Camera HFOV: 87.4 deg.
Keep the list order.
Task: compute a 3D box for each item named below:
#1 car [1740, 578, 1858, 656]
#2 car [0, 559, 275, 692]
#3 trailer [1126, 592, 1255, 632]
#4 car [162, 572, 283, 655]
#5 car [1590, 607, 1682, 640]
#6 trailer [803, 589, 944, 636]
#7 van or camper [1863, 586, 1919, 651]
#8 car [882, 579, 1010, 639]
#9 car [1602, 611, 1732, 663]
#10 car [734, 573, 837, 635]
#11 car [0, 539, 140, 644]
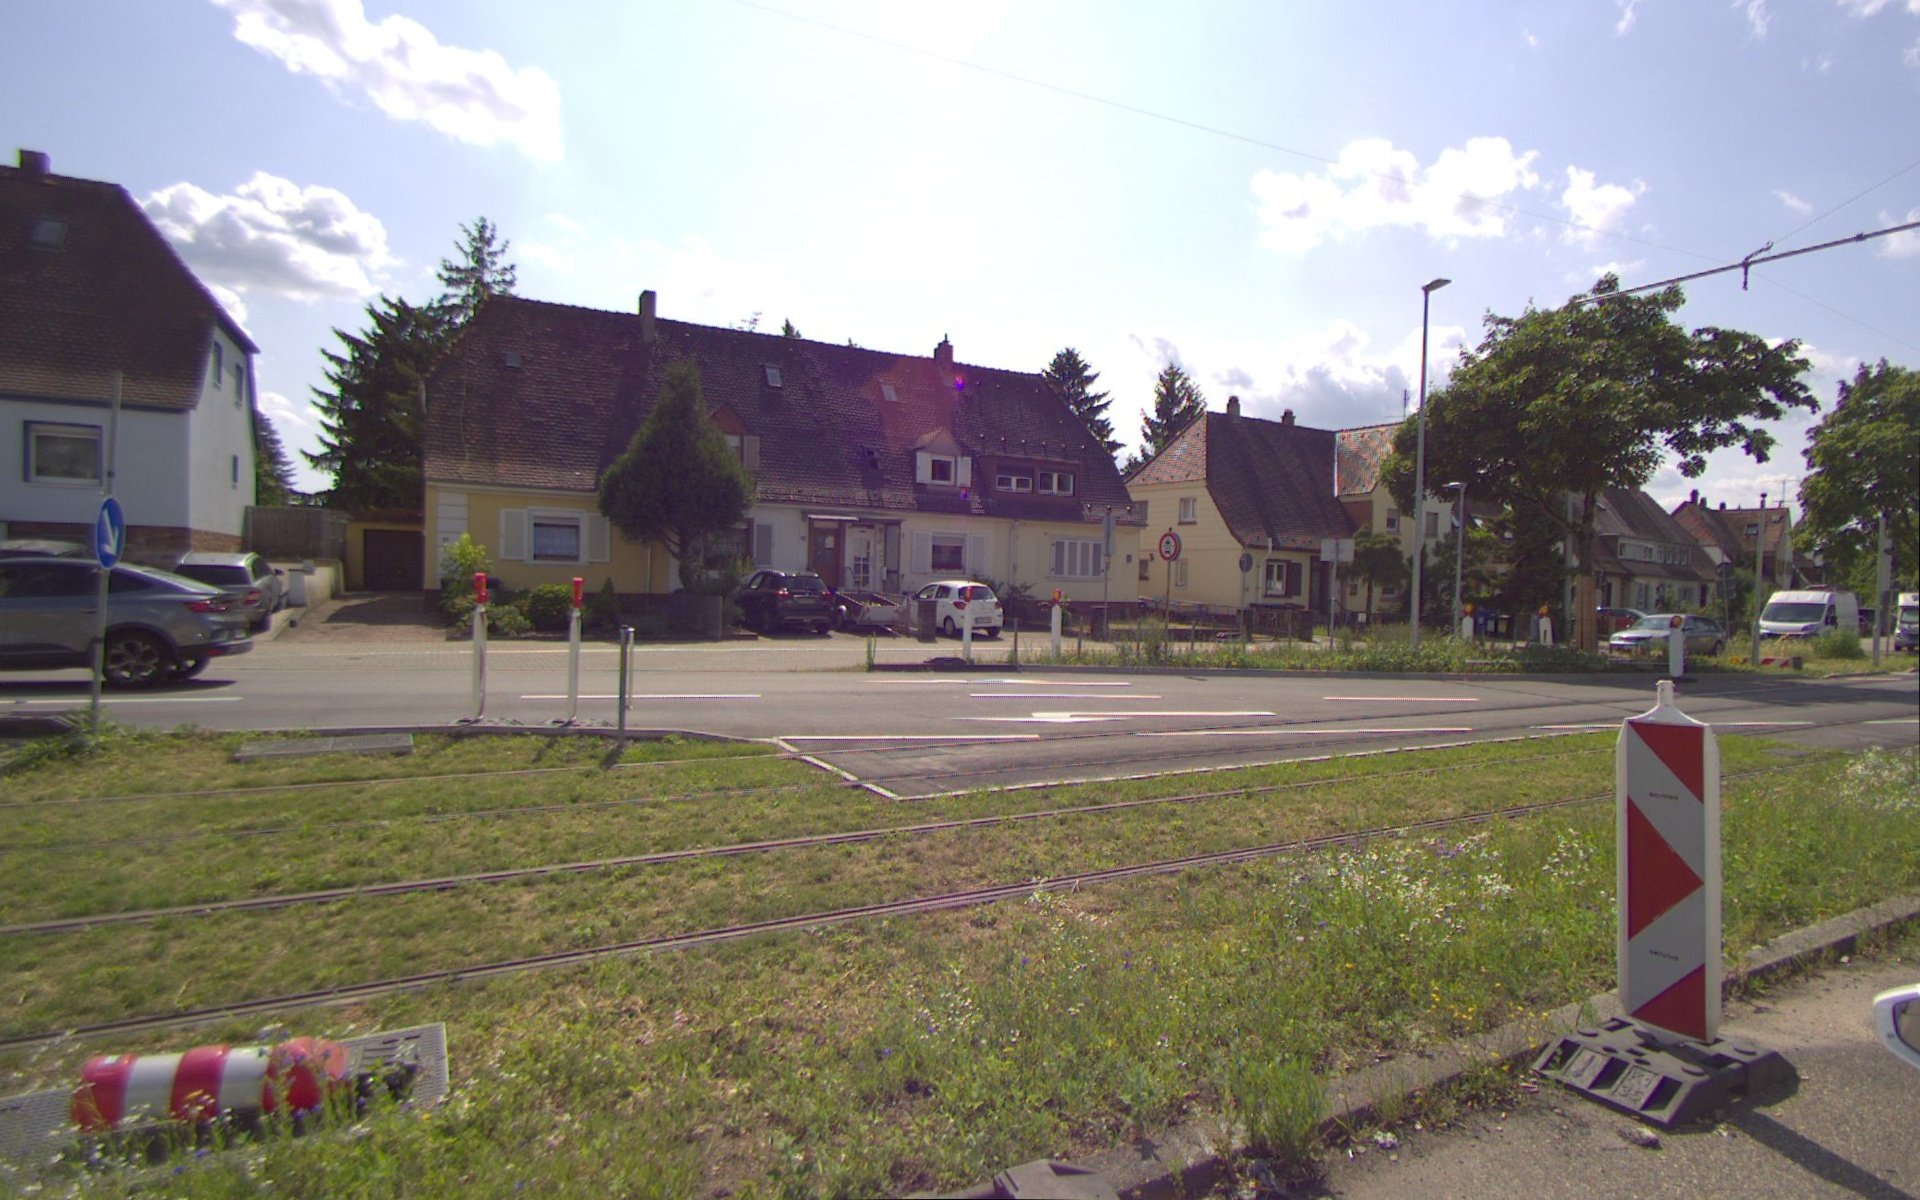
[{"bbox_3d":[31.511,0.625,37.678,4.866,2.704,2.139,1,1,-35],"label":"car"},{"bbox_3d":[-11.515,0.279,12.457,4.702,1.547,1.721,1,1,-23],"label":"car"},{"bbox_3d":[9.021,0.433,39.755,1.999,1.412,5.232,1,1,-29],"label":"trailer"},{"bbox_3d":[-15.314,0.223,21.026,1.663,1.576,3.857,1,1,-31],"label":"car"},{"bbox_3d":[34.991,1.205,52.066,1.654,1.542,3.592,1,1,-35],"label":"car"},{"bbox_3d":[-2.528,0.315,28.056,1.938,1.139,4.894,1,1,-31],"label":"trailer"},{"bbox_3d":[47.190,0.928,49.796,7.231,3.010,2.357,1,1,-38],"label":"van or camper"},{"bbox_3d":[-0.477,0.224,29.012,1.744,1.565,3.923,1,1,-36],"label":"car"},{"bbox_3d":[22.259,1.124,31.584,4.703,1.484,1.682,1,1,-33],"label":"car"},{"bbox_3d":[-4.801,0.070,27.280,1.684,1.565,3.869,1,1,-27],"label":"car"},{"bbox_3d":[-17.655,-0.190,19.747,1.782,1.870,3.966,1,1,-31],"label":"car"}]
